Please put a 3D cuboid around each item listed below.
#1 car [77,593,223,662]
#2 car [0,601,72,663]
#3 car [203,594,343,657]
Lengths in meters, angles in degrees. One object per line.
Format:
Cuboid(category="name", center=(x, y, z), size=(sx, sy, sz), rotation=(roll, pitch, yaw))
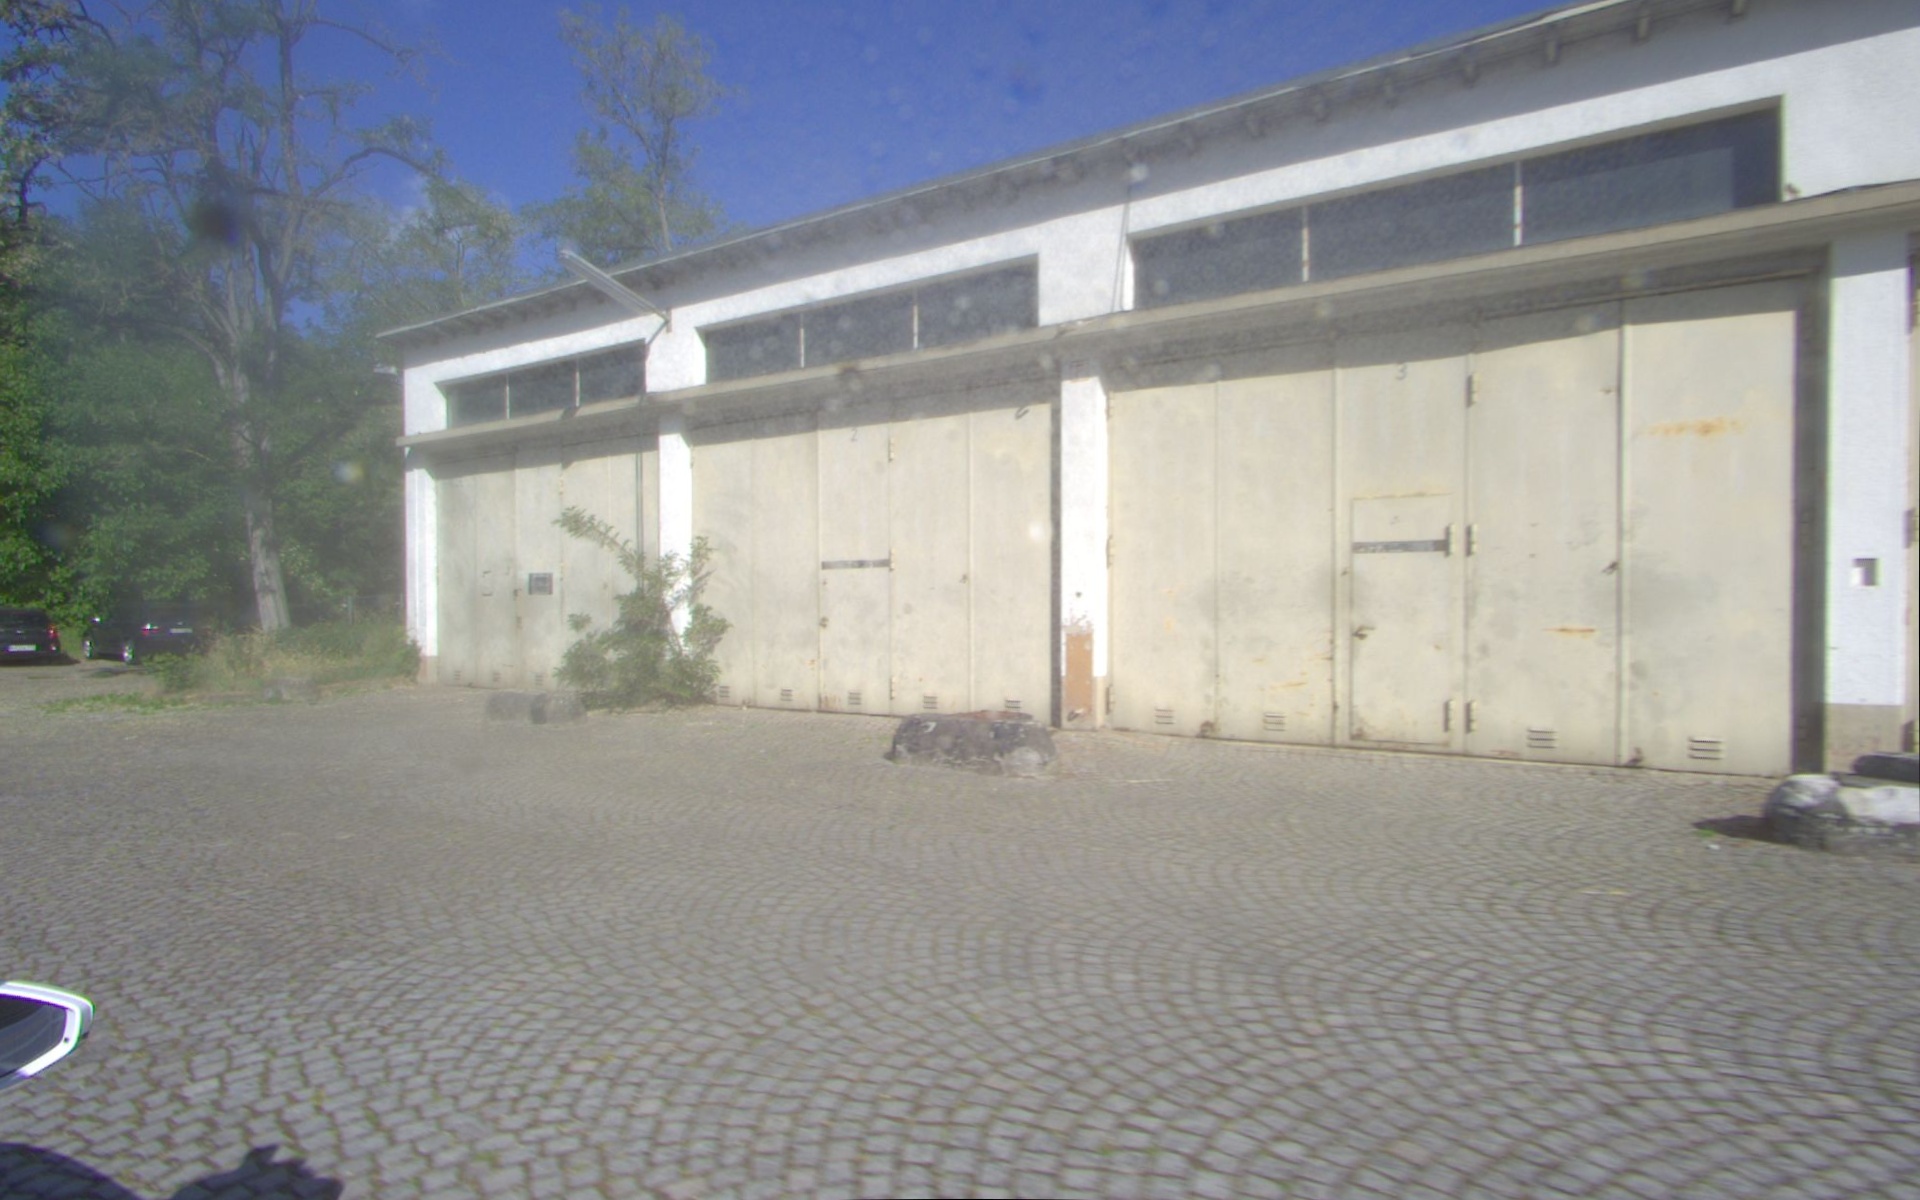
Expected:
Cuboid(category="car", center=(-22.796, 0.739, 28.155), size=(4.209, 1.653, 1.872), rotation=(3, 0, 32))
Cuboid(category="car", center=(-24.838, 0.794, 26.204), size=(3.677, 1.470, 1.733), rotation=(1, 0, 38))
Cuboid(category="car", center=(-21.364, 0.758, 31.101), size=(4.204, 1.611, 1.822), rotation=(4, 2, 28))
